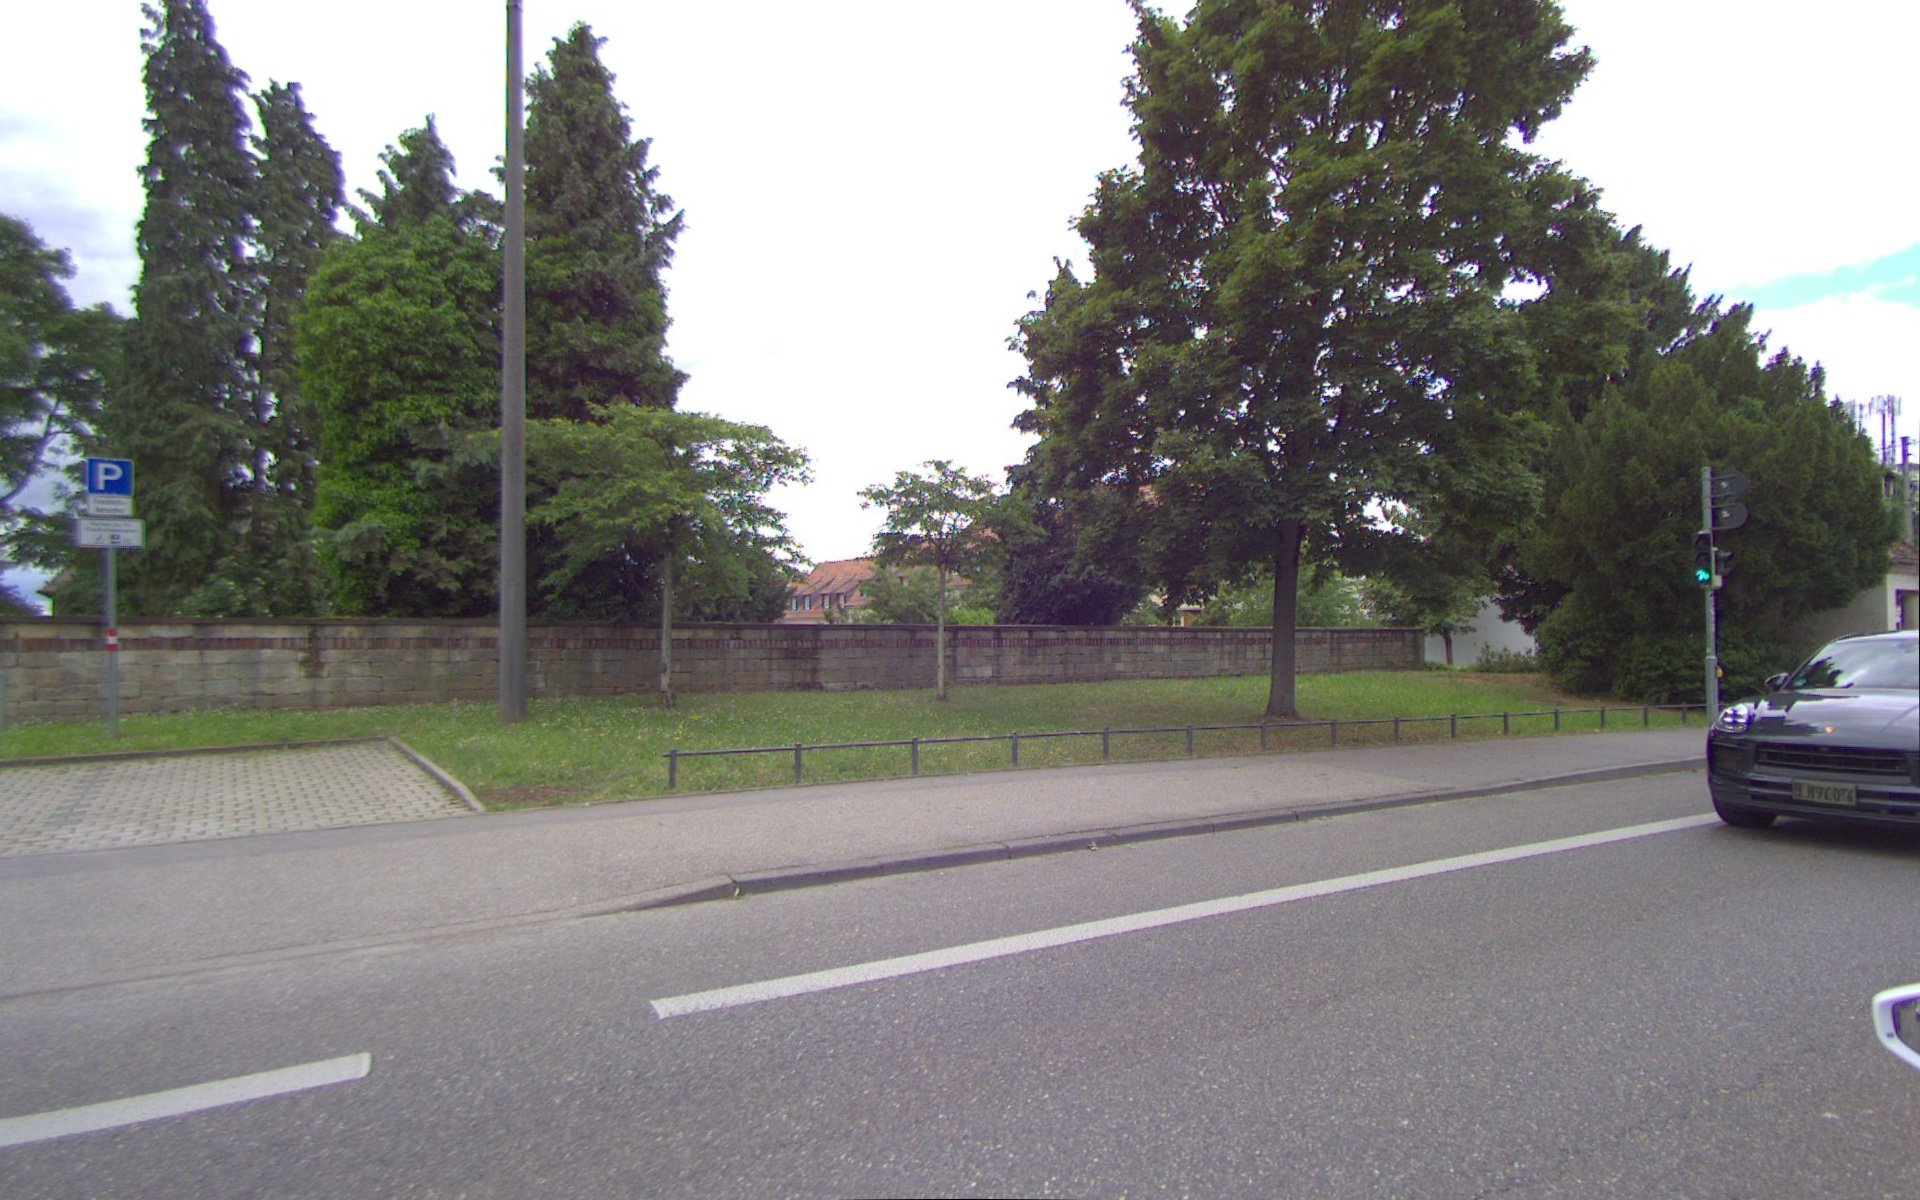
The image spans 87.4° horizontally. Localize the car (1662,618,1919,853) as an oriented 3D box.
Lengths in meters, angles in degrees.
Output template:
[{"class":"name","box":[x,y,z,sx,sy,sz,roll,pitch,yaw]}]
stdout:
[{"class":"car","box":[8.004,0.978,8.288,4.474,1.551,1.930,2,-4,-31]}]
